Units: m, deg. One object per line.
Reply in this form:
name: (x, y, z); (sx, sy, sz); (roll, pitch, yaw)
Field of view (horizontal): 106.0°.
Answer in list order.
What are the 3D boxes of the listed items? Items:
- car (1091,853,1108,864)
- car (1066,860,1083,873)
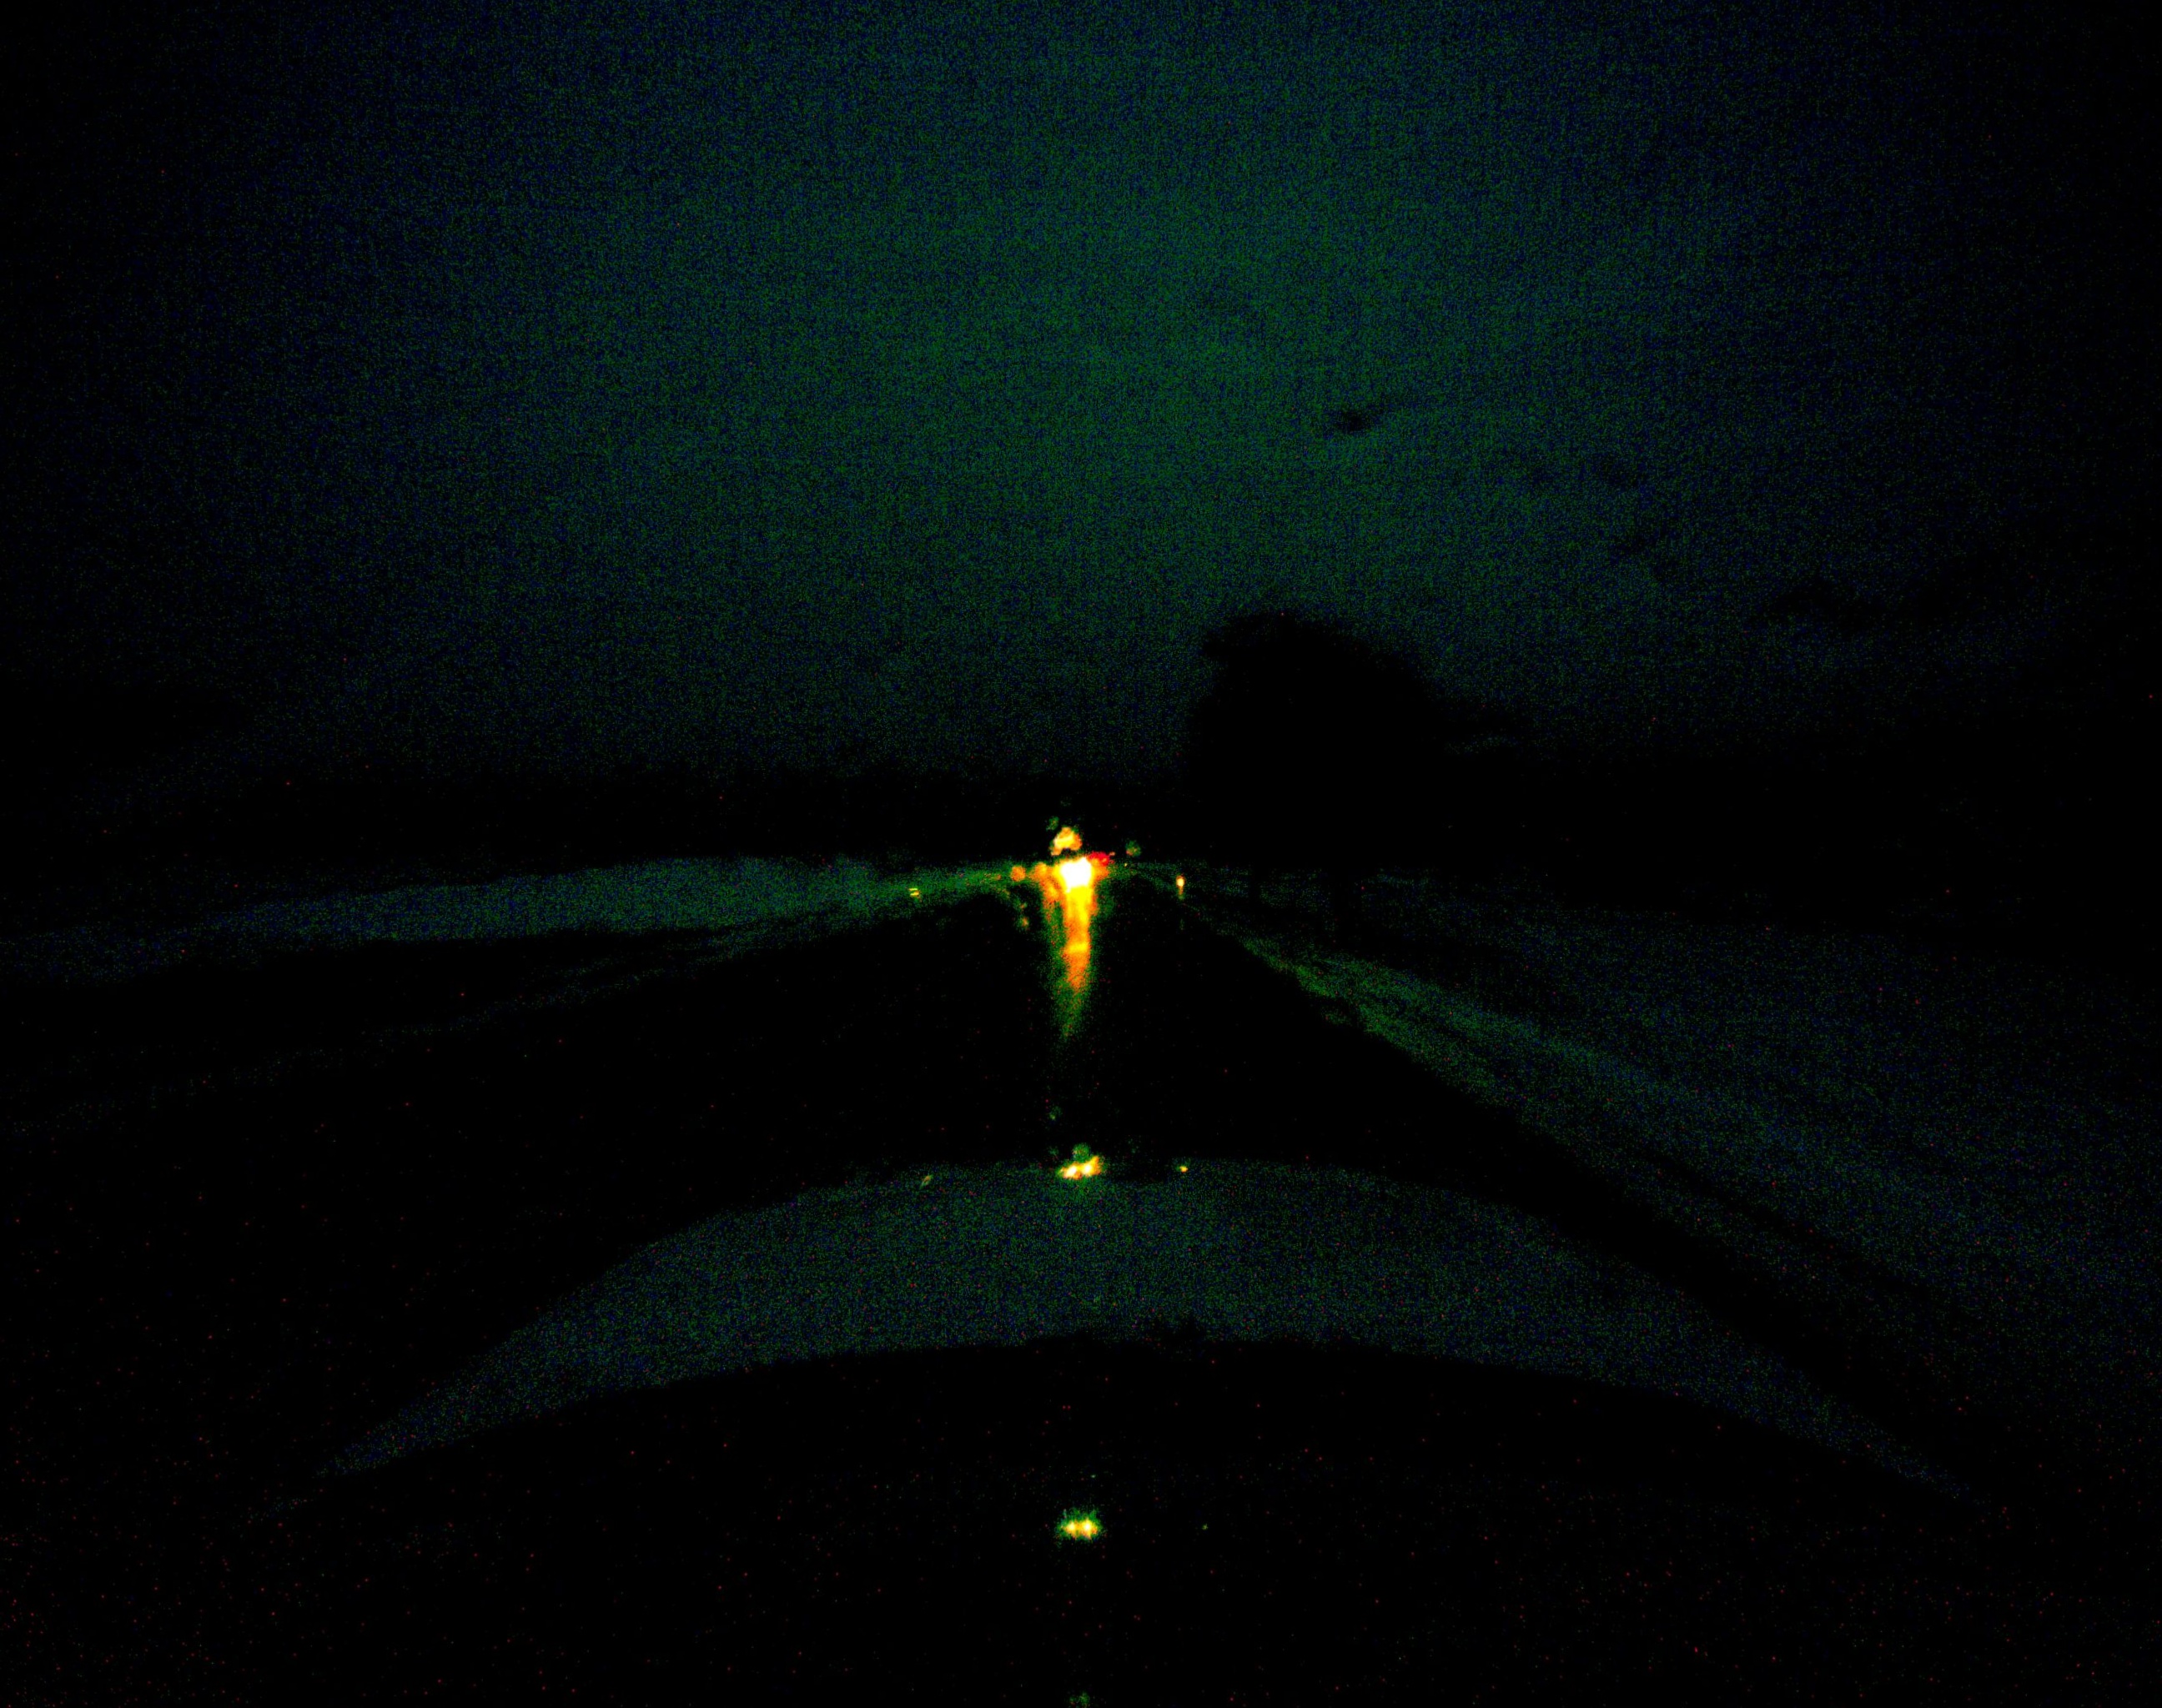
car: (3.368, 0.831, 150.226); (1.978, 2.051, 4.018); (3, 1, 17)
car: (-0.722, 1.380, 92.307); (1.721, 1.346, 4.223); (-3, -1, 2)
